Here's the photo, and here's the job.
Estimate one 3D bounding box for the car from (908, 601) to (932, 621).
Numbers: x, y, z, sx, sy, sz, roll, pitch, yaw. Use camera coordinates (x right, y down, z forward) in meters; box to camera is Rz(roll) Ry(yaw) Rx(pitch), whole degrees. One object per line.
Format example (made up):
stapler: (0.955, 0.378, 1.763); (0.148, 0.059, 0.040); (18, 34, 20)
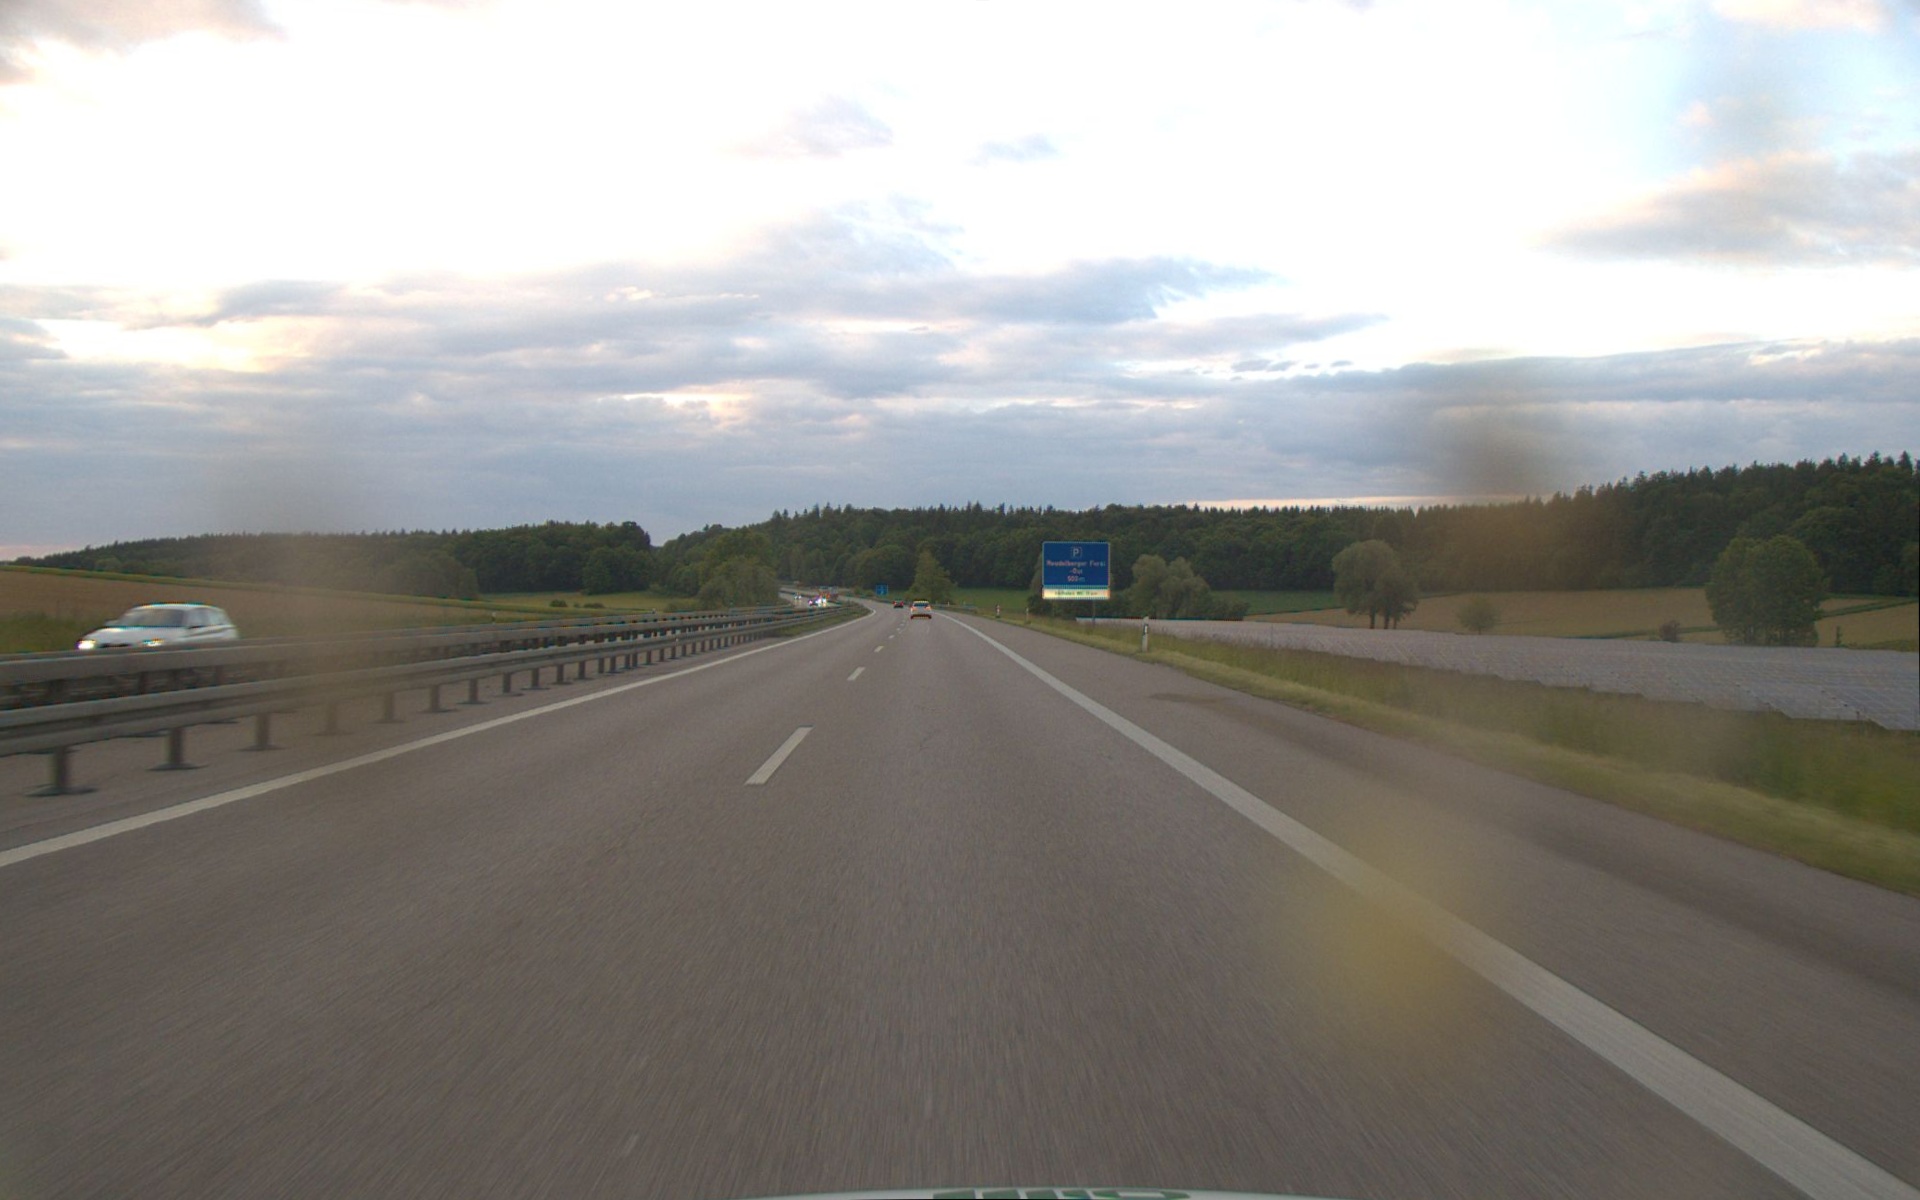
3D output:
car: (-3.396, 0.891, 140.653); (1.913, 1.558, 4.078); (2, 0, -3)

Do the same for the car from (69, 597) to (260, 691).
car: (-16.419, 0.847, 34.415); (1.754, 1.729, 4.589); (2, 0, -1)
